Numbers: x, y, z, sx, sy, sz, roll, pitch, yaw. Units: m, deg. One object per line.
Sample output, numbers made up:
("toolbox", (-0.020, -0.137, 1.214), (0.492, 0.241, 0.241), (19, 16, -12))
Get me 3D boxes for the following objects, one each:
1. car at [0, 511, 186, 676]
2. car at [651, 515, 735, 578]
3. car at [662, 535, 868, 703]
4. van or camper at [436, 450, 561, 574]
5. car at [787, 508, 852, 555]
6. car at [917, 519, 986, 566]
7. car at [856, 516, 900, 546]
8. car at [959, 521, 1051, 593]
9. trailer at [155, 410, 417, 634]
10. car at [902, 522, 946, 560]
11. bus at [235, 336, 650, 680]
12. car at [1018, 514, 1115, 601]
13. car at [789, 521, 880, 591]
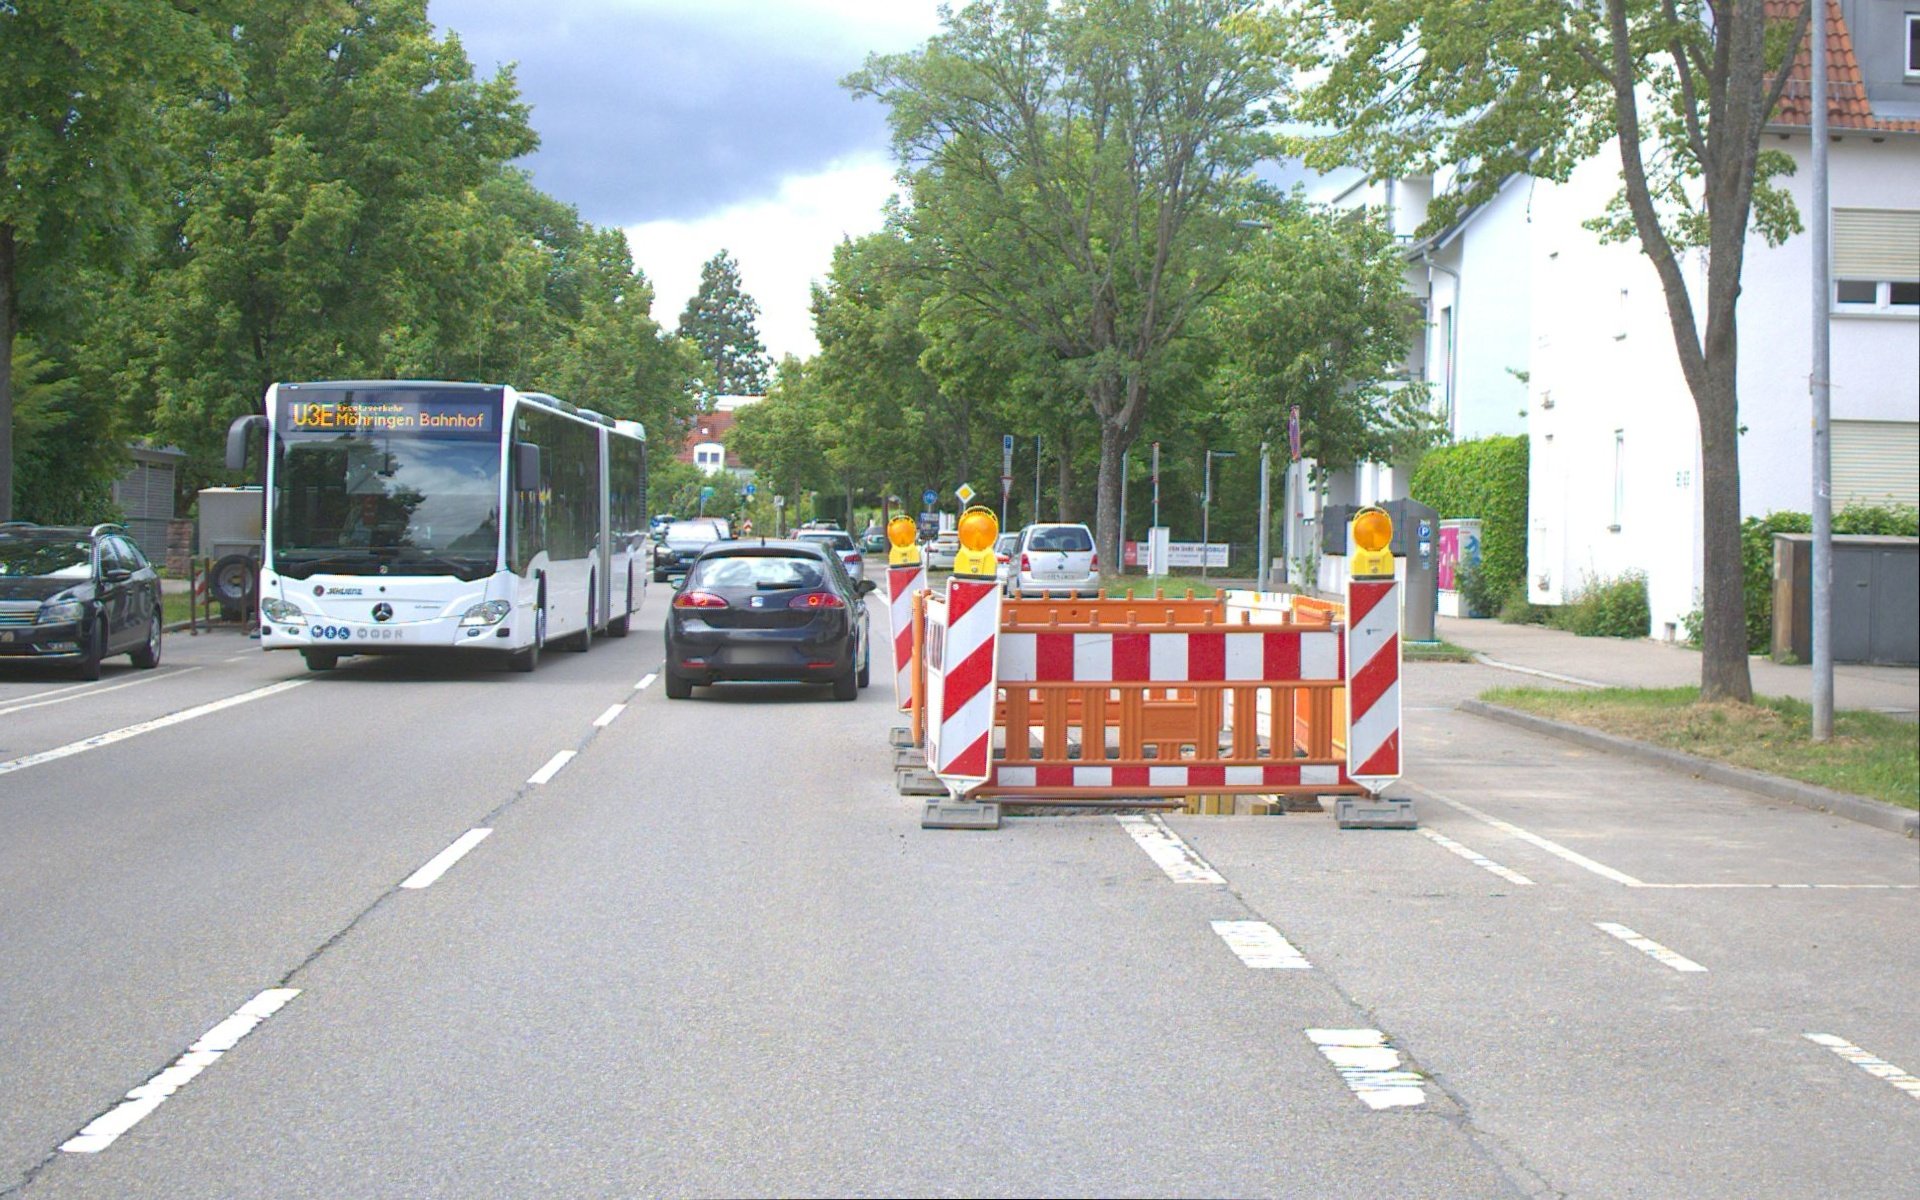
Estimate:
("car", (-9.204, -0.053, 34.765), (1.860, 1.548, 4.620), (1, 0, -2))
("car", (-7.227, -1.476, 93.553), (1.993, 1.662, 4.590), (-1, 1, -1))
("car", (-1.855, 0.136, 31.850), (1.783, 1.444, 3.558), (1, 1, -5))
("van or camper", (-11.632, -2.223, 87.247), (2.435, 2.999, 7.694), (1, 1, -2))
("car", (-4.696, -2.291, 114.399), (1.993, 1.525, 4.001), (1, 1, -4))
("car", (-0.296, -1.893, 111.601), (2.020, 1.438, 5.026), (1, 1, -2))
("car", (-3.994, -3.360, 166.801), (1.682, 1.427, 4.045), (0, 1, -8))
("car", (0.928, -0.944, 73.713), (1.687, 1.488, 4.228), (0, 1, -3))
("trailer", (-9.604, -1.088, 49.744), (2.673, 2.931, 7.477), (1, 1, -3))
("car", (-1.404, -2.266, 131.877), (1.638, 1.415, 4.000), (0, 1, -1))
("bus", (-5.851, -0.996, 42.483), (2.804, 3.277, 18.047), (1, 1, -2))
("car", (2.080, -0.856, 68.029), (1.632, 1.660, 3.648), (1, 1, -2))
("car", (-2.883, -1.036, 79.861), (1.993, 1.552, 4.000), (1, 1, -1))
